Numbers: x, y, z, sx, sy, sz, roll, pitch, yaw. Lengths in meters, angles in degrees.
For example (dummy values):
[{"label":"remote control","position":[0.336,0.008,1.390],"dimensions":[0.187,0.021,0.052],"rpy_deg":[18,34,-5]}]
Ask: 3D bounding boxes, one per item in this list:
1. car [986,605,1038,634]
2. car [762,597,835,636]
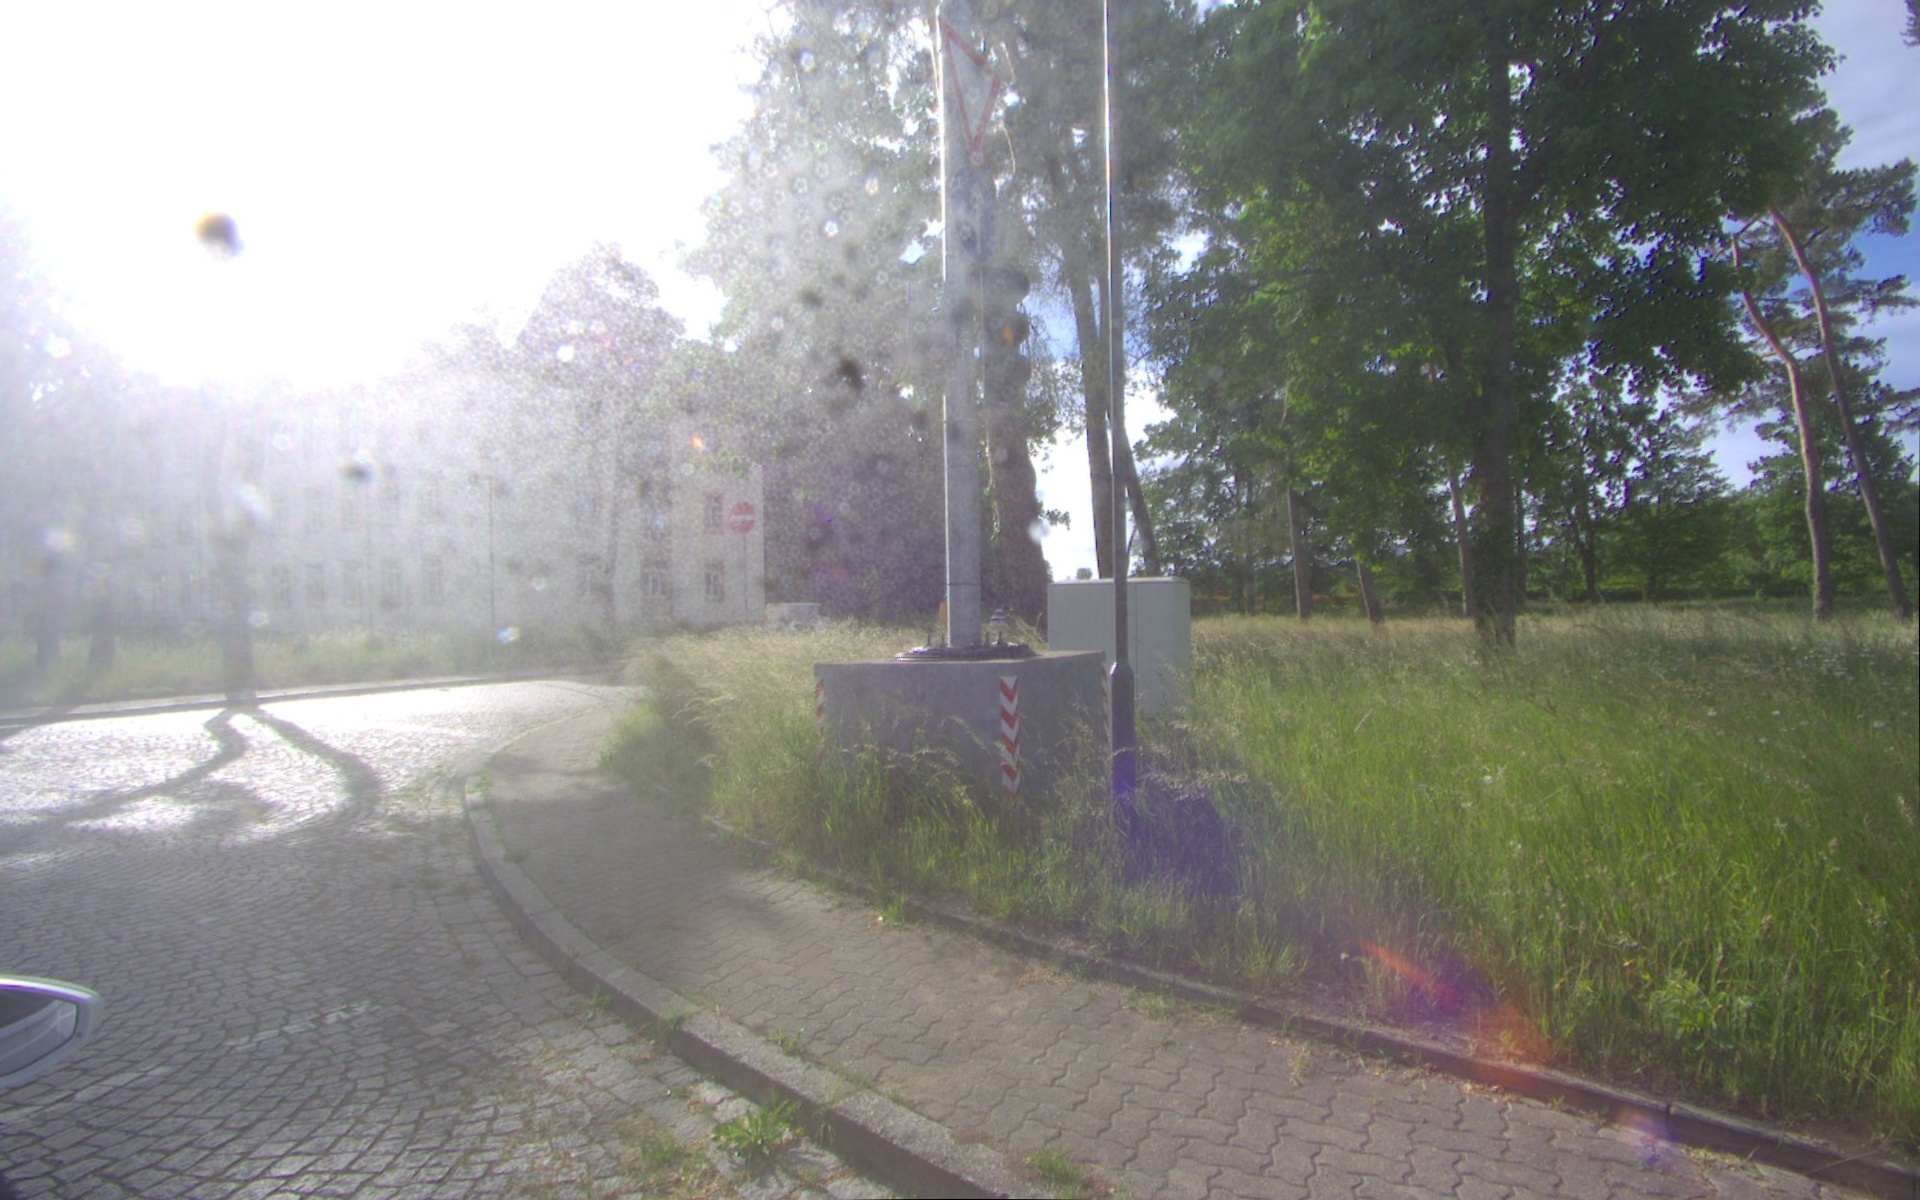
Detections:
[{"label":"car","position":[3.244,1.159,61.713],"dimensions":[1.827,1.701,3.932],"rpy_deg":[-1,-1,25]},{"label":"car","position":[-11.014,1.142,68.657],"dimensions":[2.230,2.568,5.154],"rpy_deg":[-1,-1,29]}]
